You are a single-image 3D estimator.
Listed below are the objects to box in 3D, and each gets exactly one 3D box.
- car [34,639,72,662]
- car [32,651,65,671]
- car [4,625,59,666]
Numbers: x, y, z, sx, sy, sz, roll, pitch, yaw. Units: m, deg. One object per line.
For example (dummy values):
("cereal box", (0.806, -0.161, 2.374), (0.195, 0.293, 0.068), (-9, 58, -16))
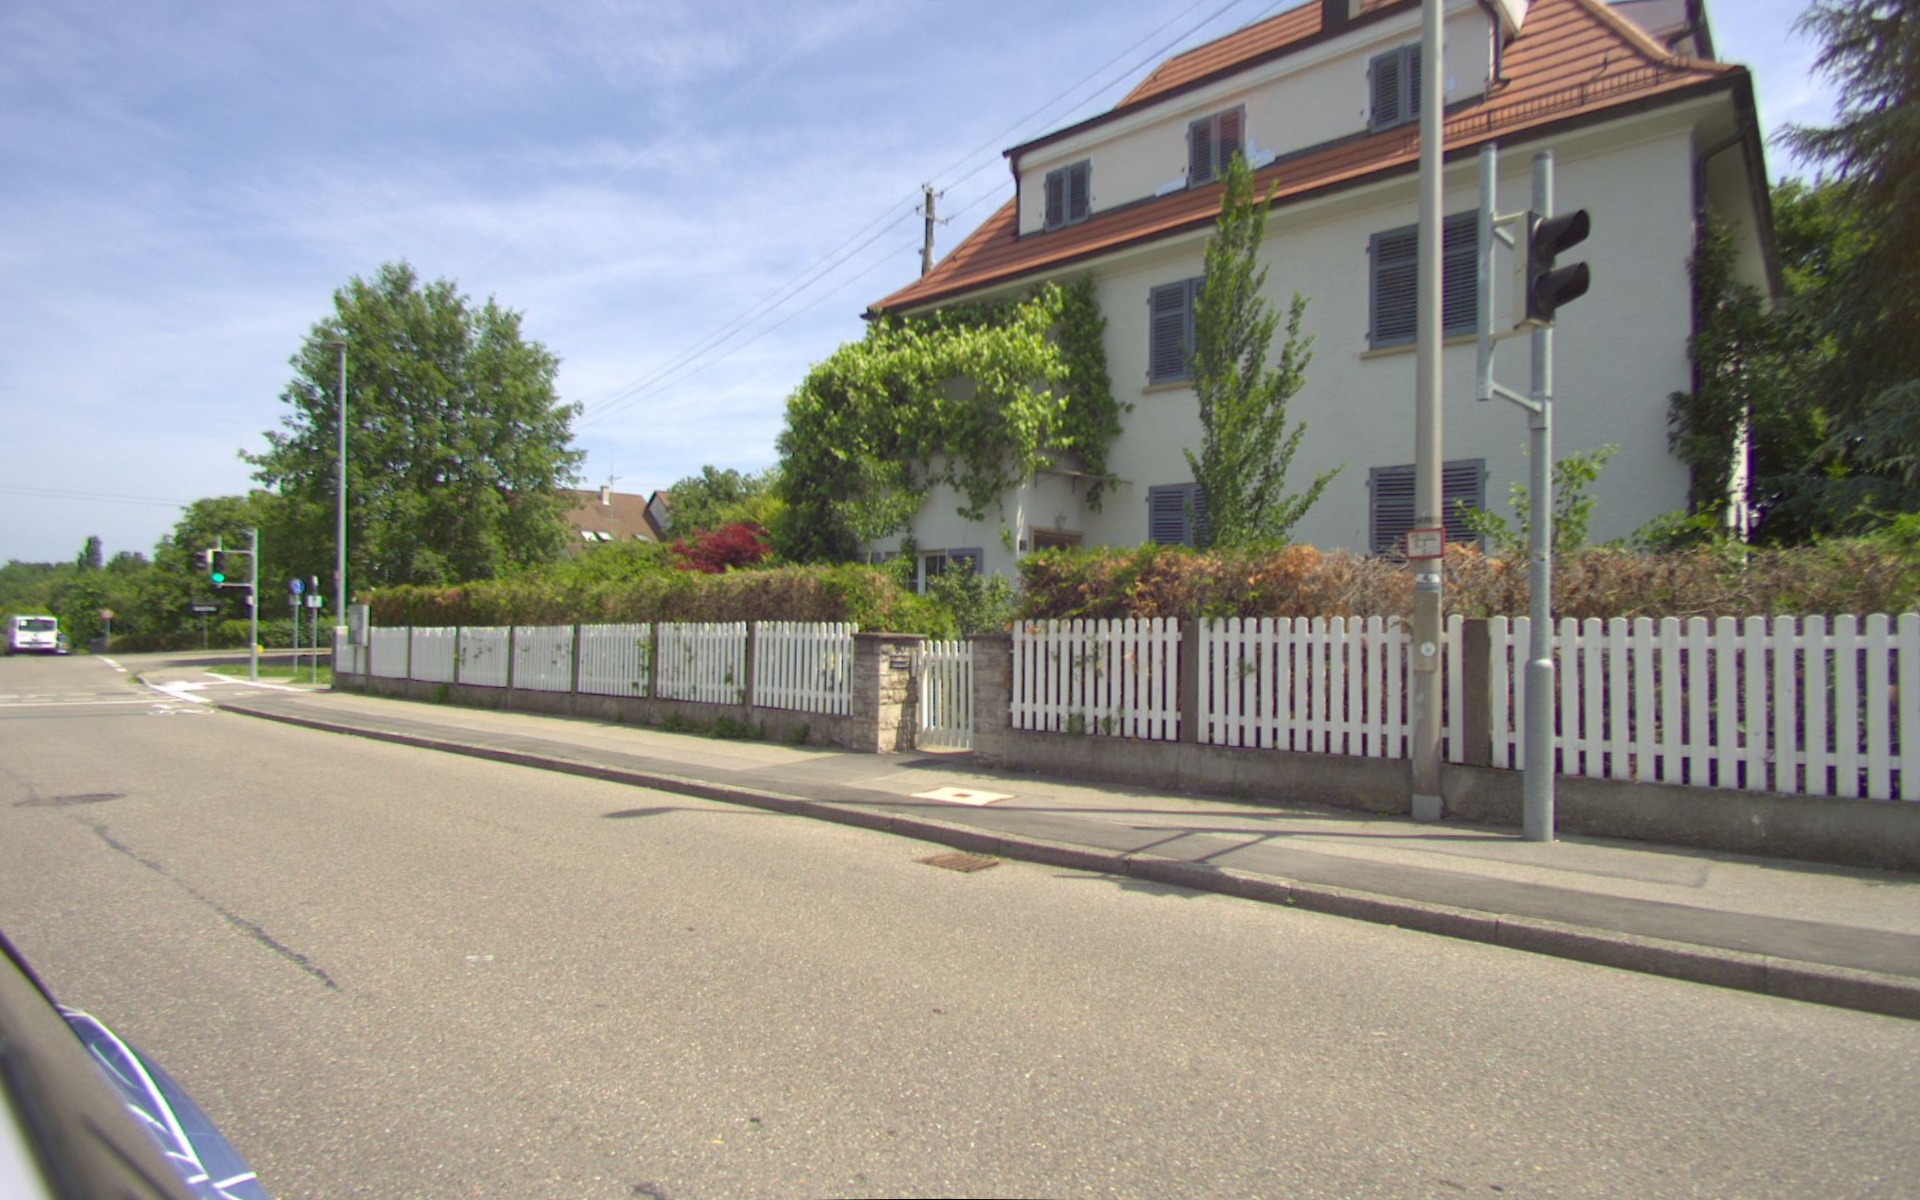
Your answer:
("car", (-58.519, 3.237, 65.284), (1.759, 1.405, 4.414), (3, -3, -43))
("car", (-75.400, 5.043, 83.730), (1.790, 1.561, 4.245), (2, -5, -45))
("car", (-47.342, 2.347, 51.582), (1.857, 1.980, 4.905), (2, -4, -45))
